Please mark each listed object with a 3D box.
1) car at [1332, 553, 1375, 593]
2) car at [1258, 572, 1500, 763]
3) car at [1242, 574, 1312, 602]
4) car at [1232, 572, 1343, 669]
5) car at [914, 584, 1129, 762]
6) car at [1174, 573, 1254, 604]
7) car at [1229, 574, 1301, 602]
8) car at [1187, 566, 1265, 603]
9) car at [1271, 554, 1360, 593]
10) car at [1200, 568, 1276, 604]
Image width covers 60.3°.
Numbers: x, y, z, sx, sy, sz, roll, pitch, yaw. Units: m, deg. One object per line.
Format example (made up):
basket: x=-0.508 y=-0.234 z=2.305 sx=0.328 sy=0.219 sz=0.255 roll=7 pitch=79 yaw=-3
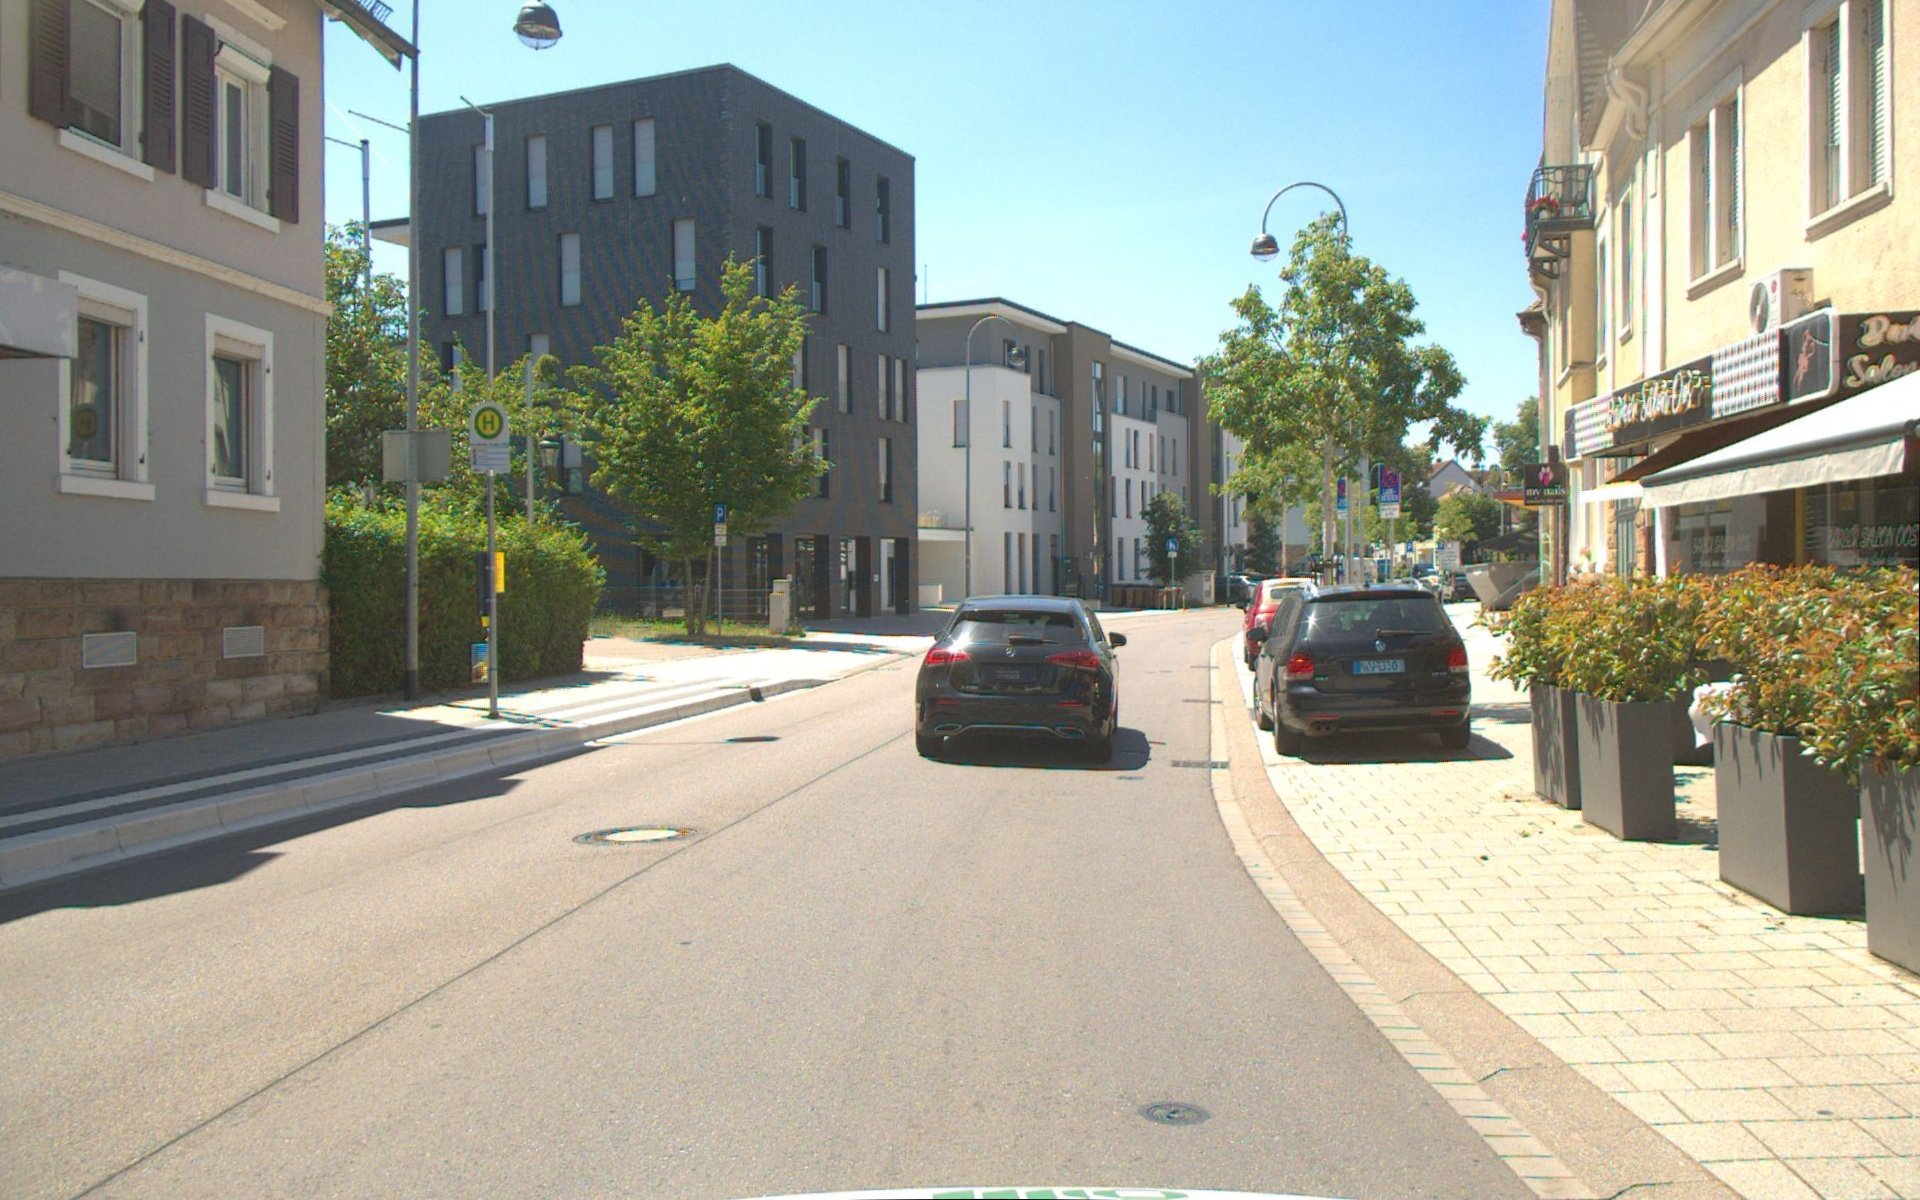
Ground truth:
car: x=20.651 y=-1.417 z=86.639 sx=1.951 sy=2.049 sz=4.003 roll=0 pitch=1 yaw=17
car: x=3.821 y=0.543 z=15.678 sx=1.713 sy=1.512 sz=4.003 roll=-3 pitch=0 yaw=8
car: x=19.940 y=-0.757 z=104.068 sx=3.910 sy=1.691 sz=1.998 roll=1 pitch=1 yaw=27
car: x=5.685 y=0.320 z=28.980 sx=1.571 sy=1.556 sz=3.495 roll=-2 pitch=0 yaw=6
car: x=0.742 y=0.591 z=16.198 sx=1.725 sy=1.483 sz=4.442 roll=0 pitch=1 yaw=7
car: x=14.014 y=-0.652 z=91.291 sx=3.910 sy=1.691 sz=1.998 roll=1 pitch=1 yaw=27
car: x=18.536 y=-0.728 z=100.424 sx=3.910 sy=1.691 sz=1.998 roll=1 pitch=1 yaw=27
car: x=15.009 y=-0.865 z=93.440 sx=3.911 sy=2.049 sz=1.997 roll=1 pitch=1 yaw=29
car: x=24.443 y=-1.794 z=113.787 sx=5.535 sy=2.624 sz=2.511 roll=1 pitch=1 yaw=29
car: x=16.087 y=-0.829 z=95.585 sx=3.911 sy=2.049 sz=1.997 roll=1 pitch=1 yaw=29
